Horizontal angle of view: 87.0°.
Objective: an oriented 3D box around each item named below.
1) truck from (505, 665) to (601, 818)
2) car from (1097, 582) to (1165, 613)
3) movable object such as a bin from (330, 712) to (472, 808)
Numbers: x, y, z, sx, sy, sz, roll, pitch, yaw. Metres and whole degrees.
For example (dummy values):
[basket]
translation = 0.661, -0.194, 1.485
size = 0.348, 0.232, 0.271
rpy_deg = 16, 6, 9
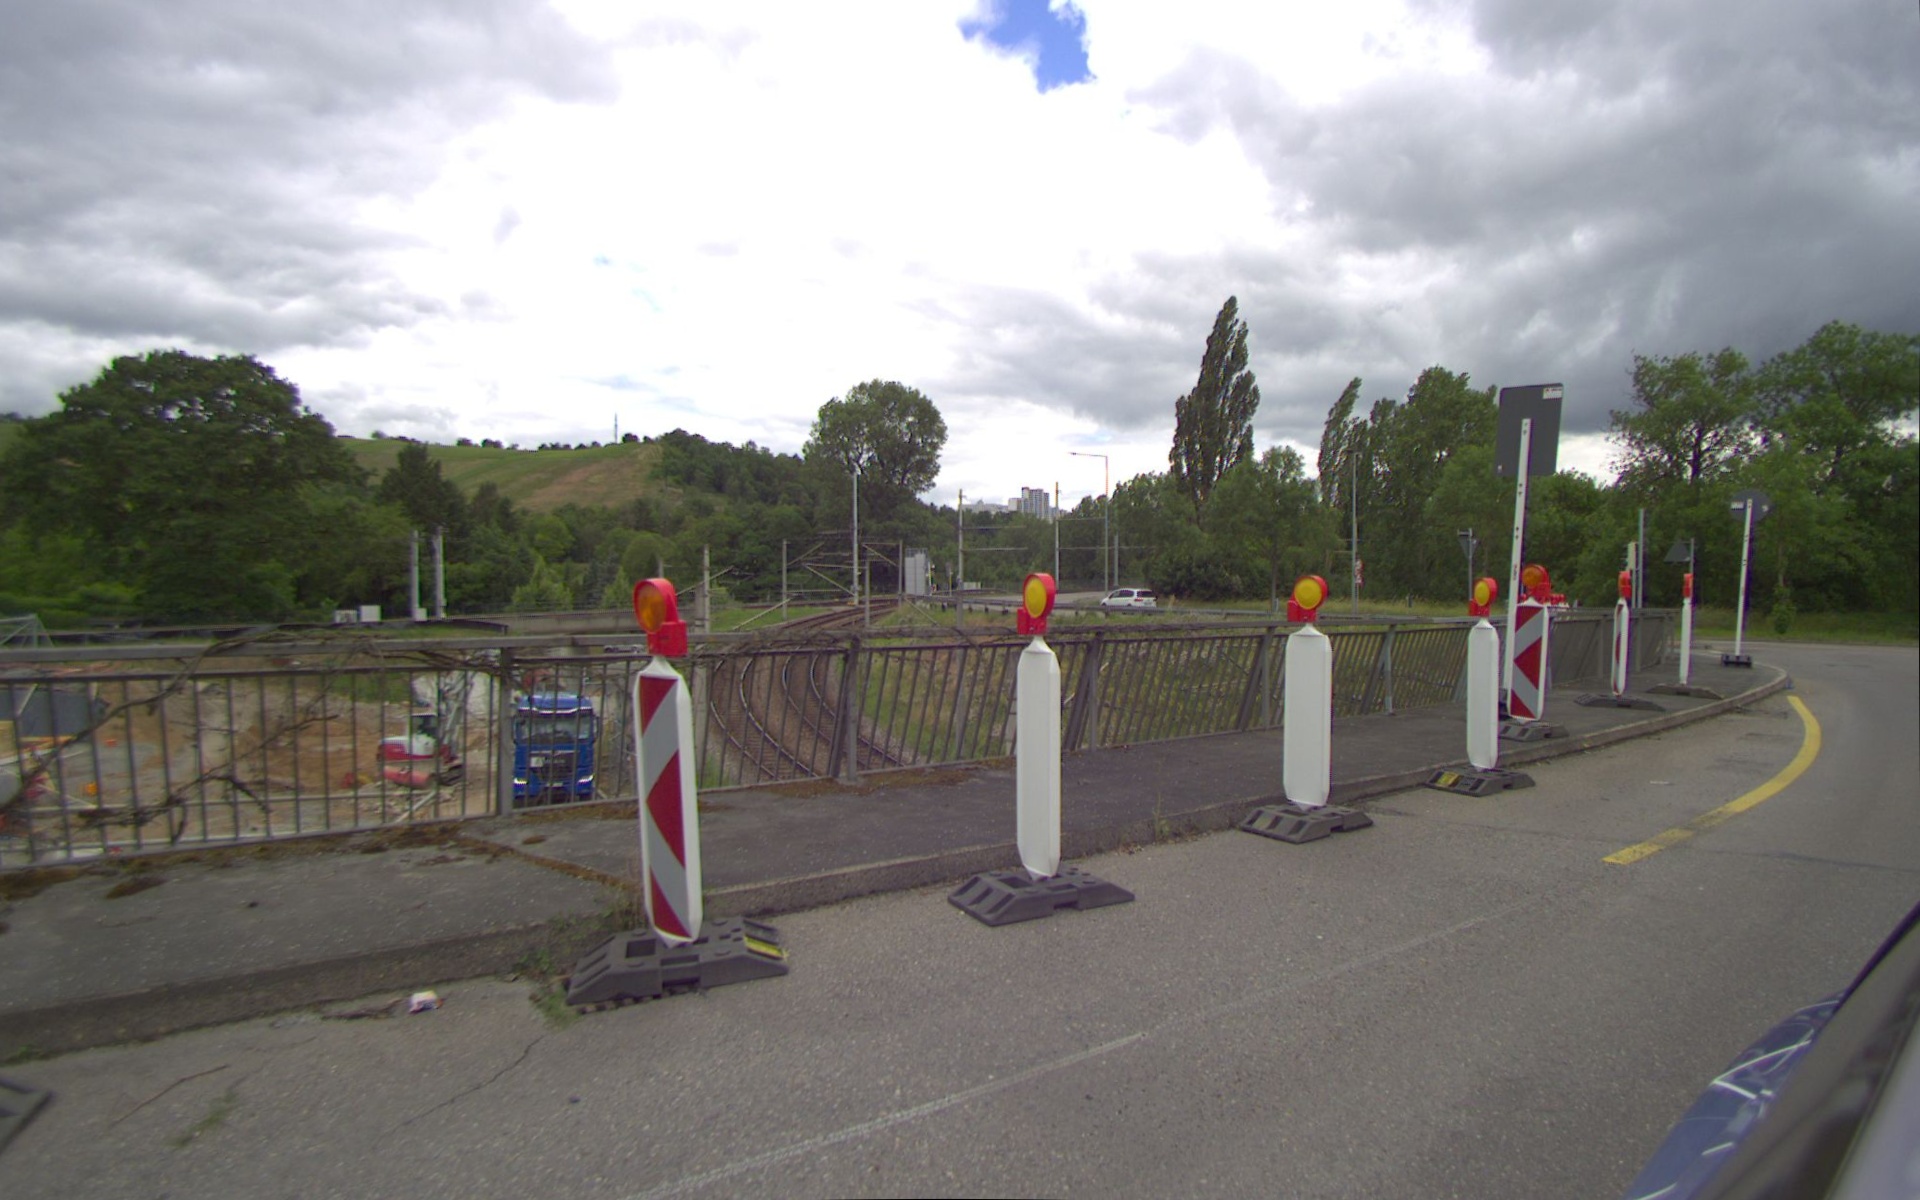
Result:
[truck]
translation = -15.122, 4.783, 37.401
size = 2.787, 3.943, 11.641
rpy_deg = 0, 0, -23
[car]
translation = 10.832, -0.173, 64.507
size = 2.040, 1.782, 4.328
rpy_deg = 4, -2, -27
[movable object such as a bin]
translation = -19.787, 5.589, 36.112
size = 2.986, 2.785, 4.292
rpy_deg = 1, -1, -6
